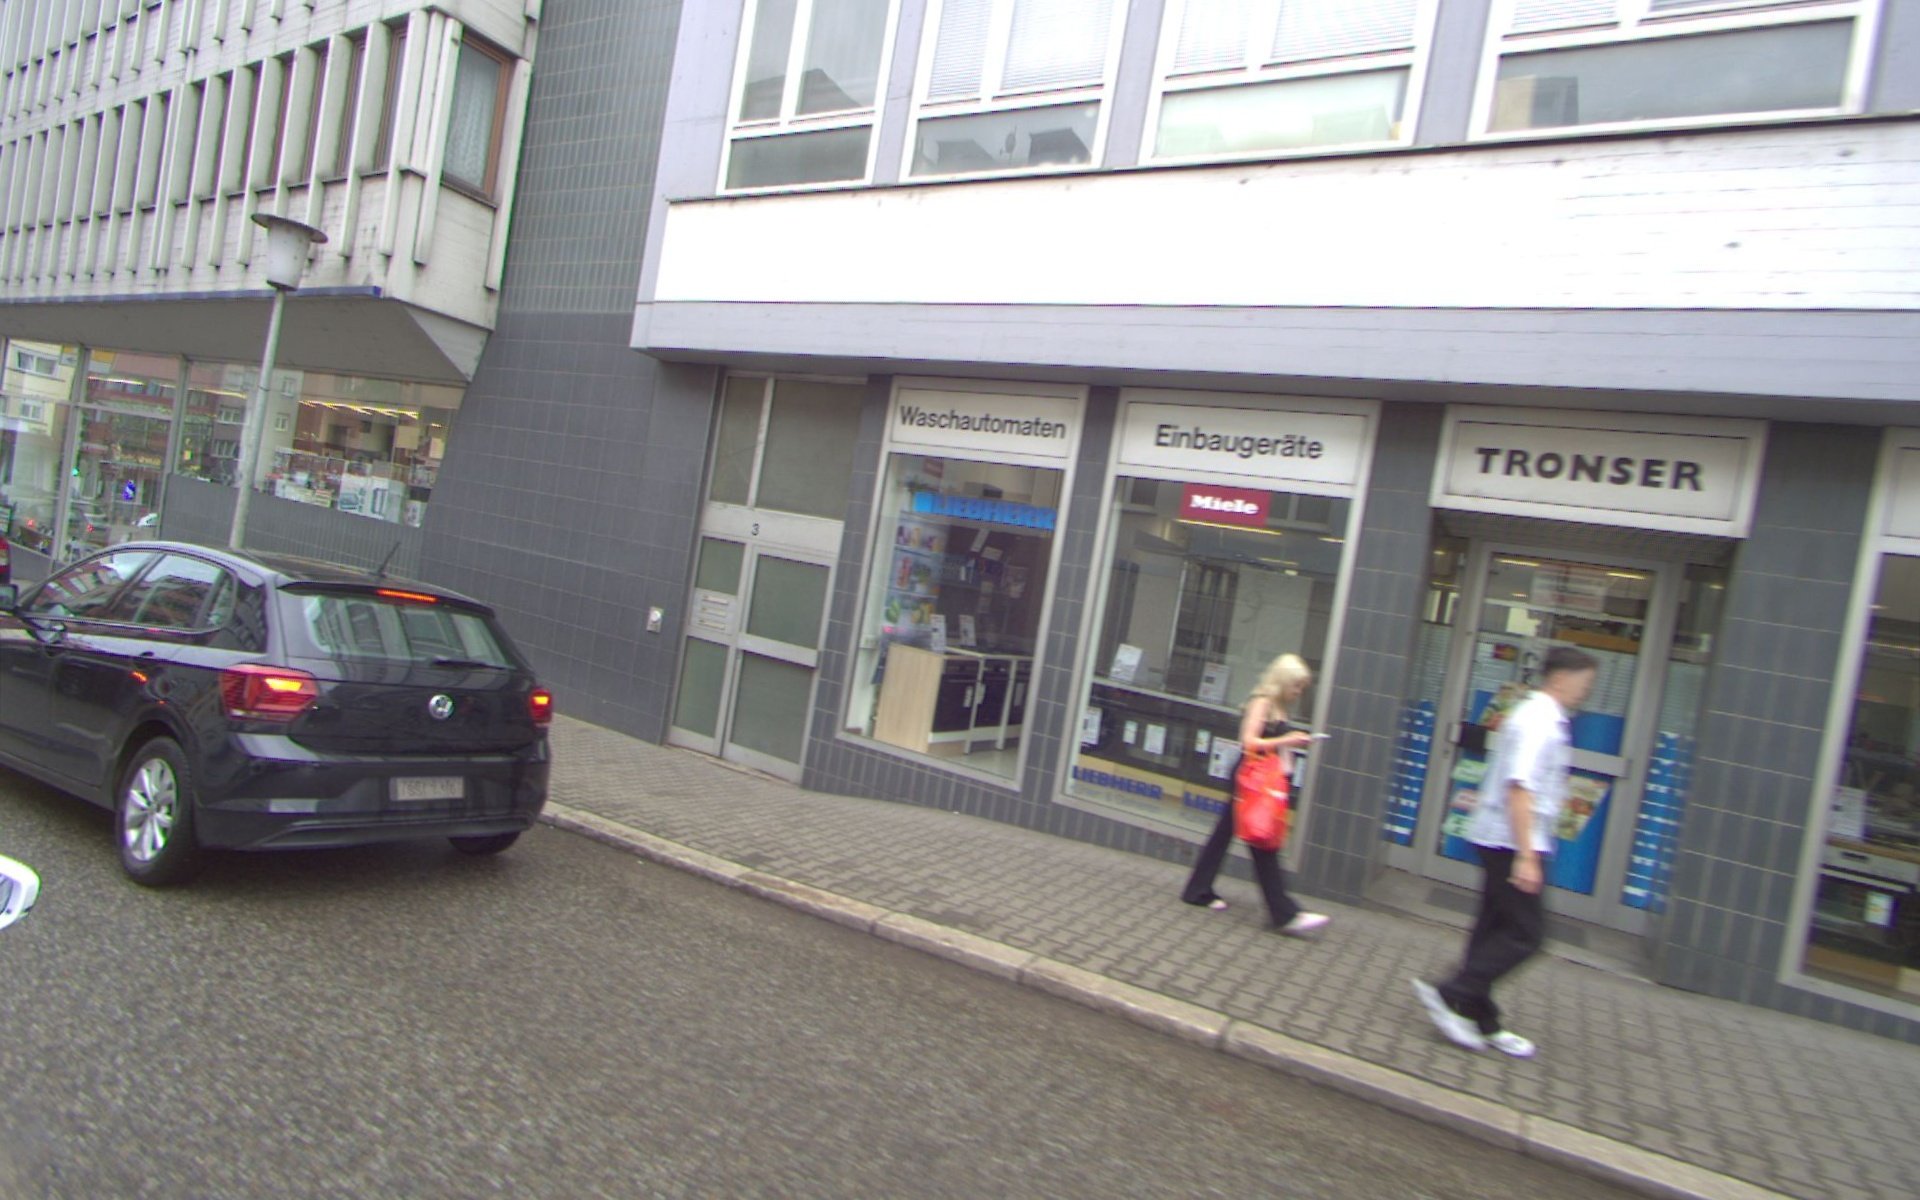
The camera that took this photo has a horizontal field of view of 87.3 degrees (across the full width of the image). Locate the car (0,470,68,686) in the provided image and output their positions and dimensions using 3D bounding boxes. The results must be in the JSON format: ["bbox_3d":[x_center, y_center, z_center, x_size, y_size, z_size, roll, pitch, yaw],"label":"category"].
[{"bbox_3d":[-9.924,-0.490,8.682,4.429,1.713,1.904,7,-4,31],"label":"car"}]

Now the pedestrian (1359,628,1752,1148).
[{"bbox_3d":[2.368,1.038,4.134,1.101,1.728,0.784,7,2,28],"label":"pedestrian"}]

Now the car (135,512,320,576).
[{"bbox_3d":[-25.531,-1.907,35.272,4.780,1.512,1.850,8,-1,-18],"label":"car"}]

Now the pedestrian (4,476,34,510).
[{"bbox_3d":[-54.222,-6.181,57.963,0.818,1.711,1.029,15,5,40],"label":"pedestrian"}]

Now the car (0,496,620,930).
[{"bbox_3d":[-3.982,0.399,5.499,3.932,1.493,1.694,7,-4,30],"label":"car"}]

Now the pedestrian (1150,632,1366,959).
[{"bbox_3d":[1.677,1.011,5.629,0.875,1.571,0.766,7,2,28],"label":"pedestrian"}]
